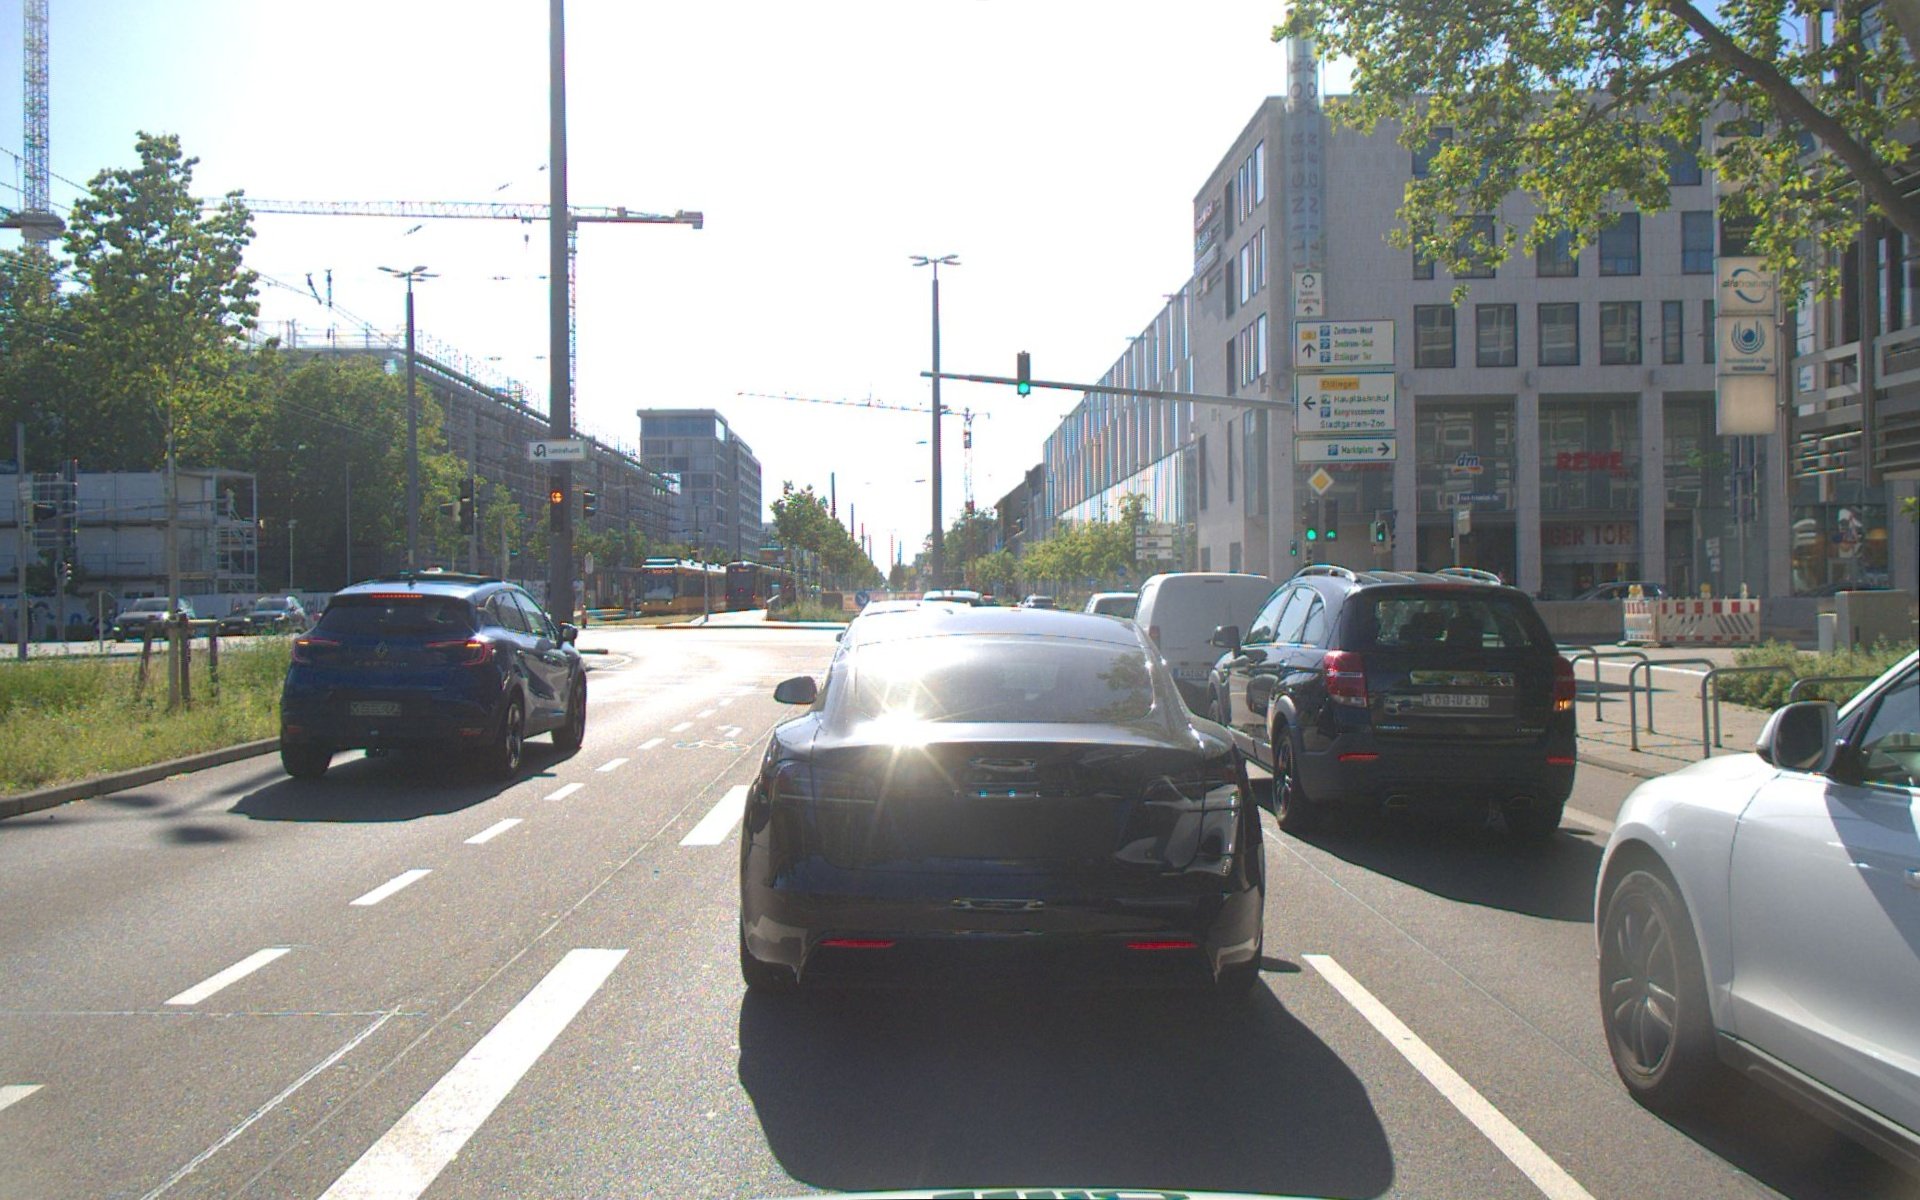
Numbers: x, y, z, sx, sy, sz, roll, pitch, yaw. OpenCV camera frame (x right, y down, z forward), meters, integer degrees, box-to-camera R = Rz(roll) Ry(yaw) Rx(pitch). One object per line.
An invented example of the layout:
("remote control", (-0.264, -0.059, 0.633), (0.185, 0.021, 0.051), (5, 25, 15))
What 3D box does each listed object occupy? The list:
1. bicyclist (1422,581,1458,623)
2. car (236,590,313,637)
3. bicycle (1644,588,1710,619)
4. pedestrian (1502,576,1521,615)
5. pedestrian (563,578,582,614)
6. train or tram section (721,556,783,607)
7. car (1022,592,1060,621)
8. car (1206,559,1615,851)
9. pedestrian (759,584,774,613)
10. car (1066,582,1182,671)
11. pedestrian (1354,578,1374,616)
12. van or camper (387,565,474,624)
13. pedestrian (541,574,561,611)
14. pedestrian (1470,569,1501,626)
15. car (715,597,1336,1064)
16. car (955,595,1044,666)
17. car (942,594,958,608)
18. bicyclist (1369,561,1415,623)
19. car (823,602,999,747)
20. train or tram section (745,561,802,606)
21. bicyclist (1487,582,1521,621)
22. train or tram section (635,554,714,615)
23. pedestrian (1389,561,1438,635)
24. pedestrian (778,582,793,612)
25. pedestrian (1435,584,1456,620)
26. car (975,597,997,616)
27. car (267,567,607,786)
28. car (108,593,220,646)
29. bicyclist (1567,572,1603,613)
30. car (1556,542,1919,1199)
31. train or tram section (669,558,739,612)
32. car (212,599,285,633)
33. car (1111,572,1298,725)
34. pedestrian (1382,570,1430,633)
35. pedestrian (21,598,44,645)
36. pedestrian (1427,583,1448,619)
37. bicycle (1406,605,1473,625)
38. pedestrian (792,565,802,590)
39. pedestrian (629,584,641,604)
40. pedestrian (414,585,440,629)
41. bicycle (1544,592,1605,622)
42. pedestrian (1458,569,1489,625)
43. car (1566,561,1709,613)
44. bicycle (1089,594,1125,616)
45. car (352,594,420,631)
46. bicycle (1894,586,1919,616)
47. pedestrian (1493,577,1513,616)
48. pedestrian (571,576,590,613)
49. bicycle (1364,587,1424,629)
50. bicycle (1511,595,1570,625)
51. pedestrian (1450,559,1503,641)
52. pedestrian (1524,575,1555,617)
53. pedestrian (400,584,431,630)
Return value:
("bicyclist", (17.482, 0.081, 60.254), (1.000, 1.502, 1.072), (-1, 0, 2))
("car", (-30.507, 0.578, 73.718), (1.832, 1.989, 3.999), (-1, 1, -1))
("bicycle", (27.311, 0.116, 63.098), (1.044, 1.113, 3.498), (0, 0, 1))
("pedestrian", (25.498, -0.228, 76.509), (0.551, 1.793, 0.641), (-2, 1, -38))
("pedestrian", (-20.262, -0.219, 86.559), (0.784, 1.855, 0.975), (-1, 0, -4))
("train or tram section", (-14.525, -1.247, 116.726), (2.812, 3.337, 15.180), (1, 0, -2))
("car", (4.562, 0.339, 94.043), (1.895, 1.569, 3.999), (0, 1, -1))
("car", (3.005, 0.600, 12.032), (1.748, 1.729, 4.412), (0, 1, 0))
("pedestrian", (-12.206, -0.112, 104.567), (0.857, 1.806, 1.188), (1, 1, -5))
("car", (3.030, 0.442, 31.265), (1.748, 1.573, 4.038), (0, 1, 0))
("pedestrian", (17.871, -0.136, 73.165), (0.732, 1.636, 0.556), (-1, 1, -3))
("van or camper", (-28.026, -0.316, 87.847), (2.553, 2.988, 7.338), (-1, 0, -3))
("pedestrian", (-20.835, -0.397, 84.255), (0.784, 1.855, 0.975), (-1, 0, -4))
("pedestrian", (15.345, -0.075, 48.287), (0.648, 1.640, 0.526), (-3, 0, -10))
("car", (0.195, 0.725, 7.434), (1.958, 1.459, 4.412), (0, 0, 0))
("car", (0.763, 0.593, 34.147), (1.681, 1.343, 3.999), (0, 1, -1))
("car", (-1.170, 0.160, 190.721), (1.895, 1.569, 3.999), (0, 1, -1))
("bicyclist", (10.563, -0.200, 40.439), (0.863, 1.502, 0.883), (-1, 0, -2))
("car", (-0.497, 0.719, 17.887), (1.681, 1.343, 3.999), (0, 1, -1))
("train or tram section", (-15.061, -1.315, 135.350), (2.812, 3.337, 22.135), (1, 0, -2))
("bicyclist", (19.872, 0.056, 60.425), (0.913, 1.420, 1.077), (-1, 0, 2))
("train or tram section", (-17.026, -0.925, 99.451), (2.812, 3.367, 13.068), (1, 0, -2))
("pedestrian", (12.696, -0.057, 46.291), (0.930, 2.049, 1.076), (0, 0, -12))
("pedestrian", (-9.806, -0.188, 93.065), (0.726, 1.657, 0.861), (0, 0, -1))
("pedestrian", (22.371, 0.070, 76.144), (0.551, 1.636, 0.740), (-2, 1, -38))
("car", (2.295, 0.578, 147.635), (1.895, 1.569, 3.999), (0, 1, -1))
("car", (-4.358, 0.566, 14.459), (1.734, 1.616, 4.087), (1, 0, -2))
("car", (-27.169, 0.639, 56.593), (1.788, 1.719, 4.092), (0, 1, 1))
("bicyclist", (22.824, -0.281, 60.394), (0.913, 1.458, 1.041), (-1, 0, 2))
("car", (2.978, 0.691, 3.552), (1.782, 1.641, 4.412), (0, 1, 0))
("train or tram section", (-17.456, -0.927, 113.937), (2.790, 3.379, 15.959), (1, 0, -2))
("car", (-35.854, 0.782, 83.448), (1.953, 1.629, 3.999), (-1, 0, -1))
("car", (3.009, 0.539, 21.139), (1.748, 1.764, 4.163), (0, 1, 0))
("pedestrian", (13.596, 0.047, 50.488), (0.947, 1.833, 1.522), (-3, 0, -2))
("pedestrian", (-37.606, 0.863, 67.061), (0.694, 1.855, 0.587), (-1, 0, -39))
("pedestrian", (21.866, 0.060, 75.726), (0.551, 1.636, 0.740), (-2, 1, -38))
("bicycle", (17.448, 0.558, 60.243), (2.147, 0.683, 1.072), (-1, 0, 2))
("pedestrian", (-12.062, -1.669, 122.373), (0.658, 1.842, 1.074), (-1, 0, -2))
("pedestrian", (-20.114, -0.387, 102.469), (0.658, 1.248, 0.505), (1, -1, -4))
("pedestrian", (-22.395, 0.291, 69.524), (0.784, 1.855, 0.975), (-1, 0, -4))
("bicycle", (23.490, 0.245, 63.325), (1.044, 1.113, 3.497), (0, 0, 0))
("pedestrian", (15.188, -0.089, 48.912), (0.648, 1.640, 0.526), (-3, 0, -10))
("car", (23.044, -0.431, 56.383), (4.099, 1.641, 1.861), (-1, -1, 1))
("bicycle", (8.607, 0.289, 96.926), (2.041, 1.226, 0.951), (-2, 0, 5))
("car", (-27.391, 0.574, 79.117), (1.907, 1.737, 4.365), (-1, 0, -3))
("bicycle", (37.126, 0.031, 63.127), (1.044, 1.113, 3.498), (0, 0, 1))
("pedestrian", (24.978, -0.172, 76.060), (0.551, 1.793, 0.641), (-2, 1, -38))
("pedestrian", (-19.190, -0.292, 83.575), (0.784, 1.855, 0.975), (-1, 0, -4))
("bicycle", (10.564, 0.181, 40.331), (0.863, 1.002, 2.050), (-1, 1, -1))
("bicycle", (22.228, 0.366, 63.416), (1.044, 1.113, 3.497), (0, 0, 0))
("pedestrian", (13.221, -0.010, 42.361), (0.929, 2.049, 1.077), (0, 0, -9))
("pedestrian", (23.904, -0.172, 68.214), (0.957, 1.713, 0.860), (-1, 0, -4))
("pedestrian", (-22.149, 0.280, 67.257), (0.785, 1.855, 0.880), (-1, 0, 31))
